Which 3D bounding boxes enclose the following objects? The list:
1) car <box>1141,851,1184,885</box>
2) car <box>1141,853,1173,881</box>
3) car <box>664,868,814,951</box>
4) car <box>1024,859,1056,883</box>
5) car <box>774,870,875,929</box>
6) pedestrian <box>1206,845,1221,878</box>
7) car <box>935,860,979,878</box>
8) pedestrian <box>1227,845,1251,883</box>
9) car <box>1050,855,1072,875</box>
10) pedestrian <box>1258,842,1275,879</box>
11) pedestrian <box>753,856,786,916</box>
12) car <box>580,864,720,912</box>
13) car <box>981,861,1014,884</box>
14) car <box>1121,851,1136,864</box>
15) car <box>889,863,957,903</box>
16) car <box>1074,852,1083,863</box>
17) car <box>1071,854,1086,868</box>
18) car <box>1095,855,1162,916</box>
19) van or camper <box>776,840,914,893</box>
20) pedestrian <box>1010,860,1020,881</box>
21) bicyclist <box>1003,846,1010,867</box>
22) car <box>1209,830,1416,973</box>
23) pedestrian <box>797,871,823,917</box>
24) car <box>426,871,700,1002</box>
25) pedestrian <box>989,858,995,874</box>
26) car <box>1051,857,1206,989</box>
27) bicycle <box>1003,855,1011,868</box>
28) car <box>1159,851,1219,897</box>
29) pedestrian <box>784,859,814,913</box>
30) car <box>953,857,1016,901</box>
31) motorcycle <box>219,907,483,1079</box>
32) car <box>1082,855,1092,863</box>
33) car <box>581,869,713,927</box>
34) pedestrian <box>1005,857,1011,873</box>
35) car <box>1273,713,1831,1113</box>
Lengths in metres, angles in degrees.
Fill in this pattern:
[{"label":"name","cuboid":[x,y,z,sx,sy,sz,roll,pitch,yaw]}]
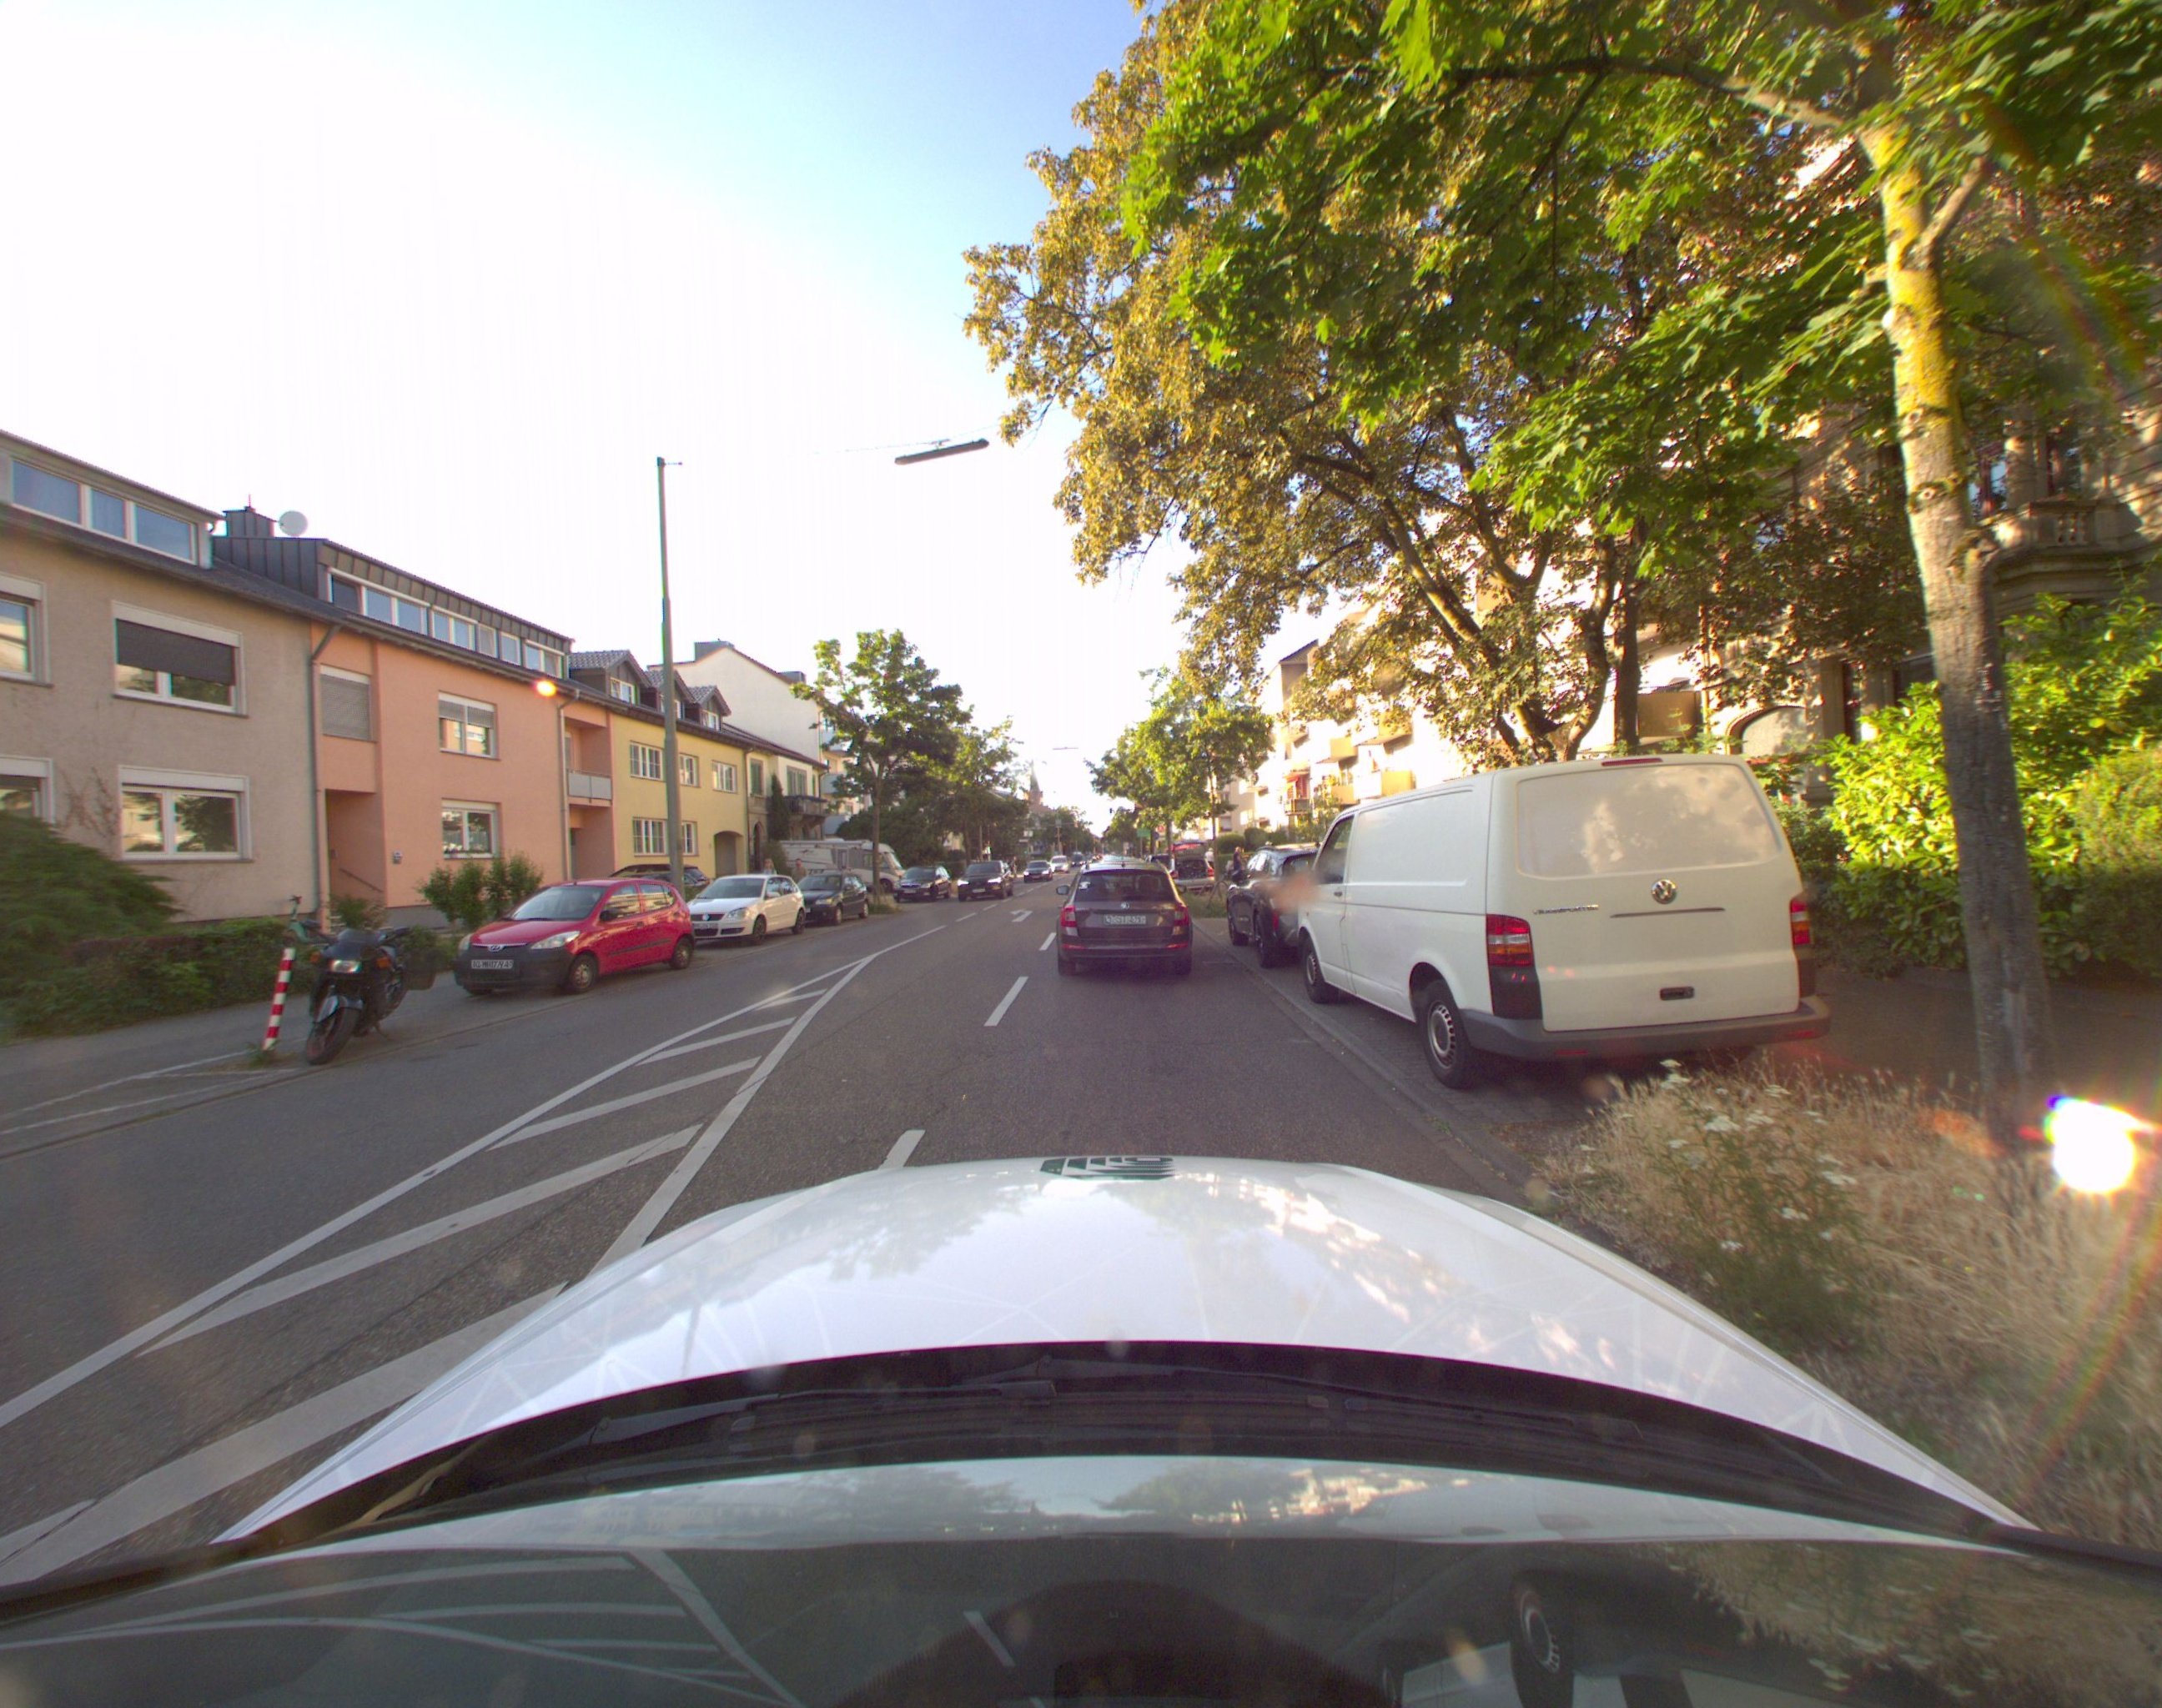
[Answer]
[{"label":"car","cuboid":[4.225,0.698,42.790,1.849,1.581,4.015,-4,0,1]},{"label":"car","cuboid":[4.497,0.733,48.598,1.696,1.450,4.018,-4,0,4]},{"label":"car","cuboid":[-7.436,1.145,18.128,1.587,1.523,3.891,-2,0,1]},{"label":"car","cuboid":[-2.803,1.140,57.210,1.754,1.452,4.536,-5,0,2]},{"label":"car","cuboid":[-7.104,1.207,22.893,1.537,1.396,3.667,-2,0,2]},{"label":"pedestrian","cuboid":[7.277,0.406,44.749,0.659,1.749,0.773,-4,-1,5]},{"label":"car","cuboid":[-13.976,1.660,92.169,4.617,1.812,1.862,-3,0,1]},{"label":"pedestrian","cuboid":[6.950,0.433,35.863,0.748,1.640,0.700,-3,-1,38]},{"label":"car","cuboid":[-1.954,1.094,80.422,1.799,1.804,4.747,-4,0,1]},{"label":"pedestrian","cuboid":[8.342,0.309,36.549,0.475,1.640,0.533,-2,-1,-17]},{"label":"pedestrian","cuboid":[-9.500,0.976,24.865,0.710,1.792,0.506,-3,0,4]},{"label":"car","cuboid":[-15.254,1.181,28.977,3.971,1.636,1.867,0,0,2]},{"label":"car","cuboid":[-5.712,1.246,56.235,1.642,1.517,4.076,-1,0,2]},{"label":"car","cuboid":[6.922,0.480,117.995,1.984,1.772,4.005,-1,0,5]},{"label":"car","cuboid":[-6.645,1.183,34.774,1.860,1.494,4.519,-1,0,2]},{"label":"car","cuboid":[-0.532,0.870,190.989,1.986,2.478,4.002,-3,0,2]},{"label":"car","cuboid":[-0.377,1.065,126.126,1.986,1.908,4.965,-5,0,1]},{"label":"car","cuboid":[1.336,0.820,23.187,1.730,1.571,4.003,-1,0,3]},{"label":"van or camper","cuboid":[-12.698,0.671,44.152,6.774,2.773,2.352,0,0,0]},{"label":"pedestrian","cuboid":[-6.248,1.537,77.220,0.777,1.987,0.821,-3,0,2]},{"label":"bicyclist","cuboid":[-6.090,0.183,66.728,0.467,1.663,0.552,-2,0,1]},{"label":"car","cuboid":[3.189,0.591,12.167,1.849,1.603,4.312,-5,0,1]},{"label":"pedestrian","cuboid":[-8.999,1.317,27.056,0.587,1.496,0.543,-3,0,4]},{"label":"car","cuboid":[-7.341,1.081,11.983,1.585,1.523,3.440,-2,0,4]},{"label":"pedestrian","cuboid":[-10.157,1.312,92.965,0.447,1.797,0.504,-3,-1,2]},{"label":"car","cuboid":[0.610,0.809,11.640,1.766,1.489,4.312,-1,0,1]},{"label":"bicycle","cuboid":[-6.071,0.589,66.747,0.484,1.064,1.534,-2,0,1]},{"label":"car","cuboid":[3.966,0.698,30.589,1.702,1.480,4.270,-4,0,1]},{"label":"pedestrian","cuboid":[-9.692,1.090,27.978,0.710,1.792,0.572,-3,0,4]},{"label":"car","cuboid":[-3.898,0.997,33.480,1.828,1.570,4.002,-4,-1,2]},{"label":"motorcycle","cuboid":[-7.085,1.250,8.138,1.184,1.266,2.352,-3,0,-22]},{"label":"car","cuboid":[1.323,1.154,173.262,1.823,1.579,4.002,-3,0,2]},{"label":"car","cuboid":[-12.656,1.227,24.036,1.658,1.409,3.756,-3,0,3]},{"label":"pedestrian","cuboid":[-8.364,1.246,93.526,0.613,1.797,0.504,-3,-1,2]},{"label":"car","cuboid":[3.120,0.325,6.767,1.897,2.103,4.640,-2,0,0]}]
